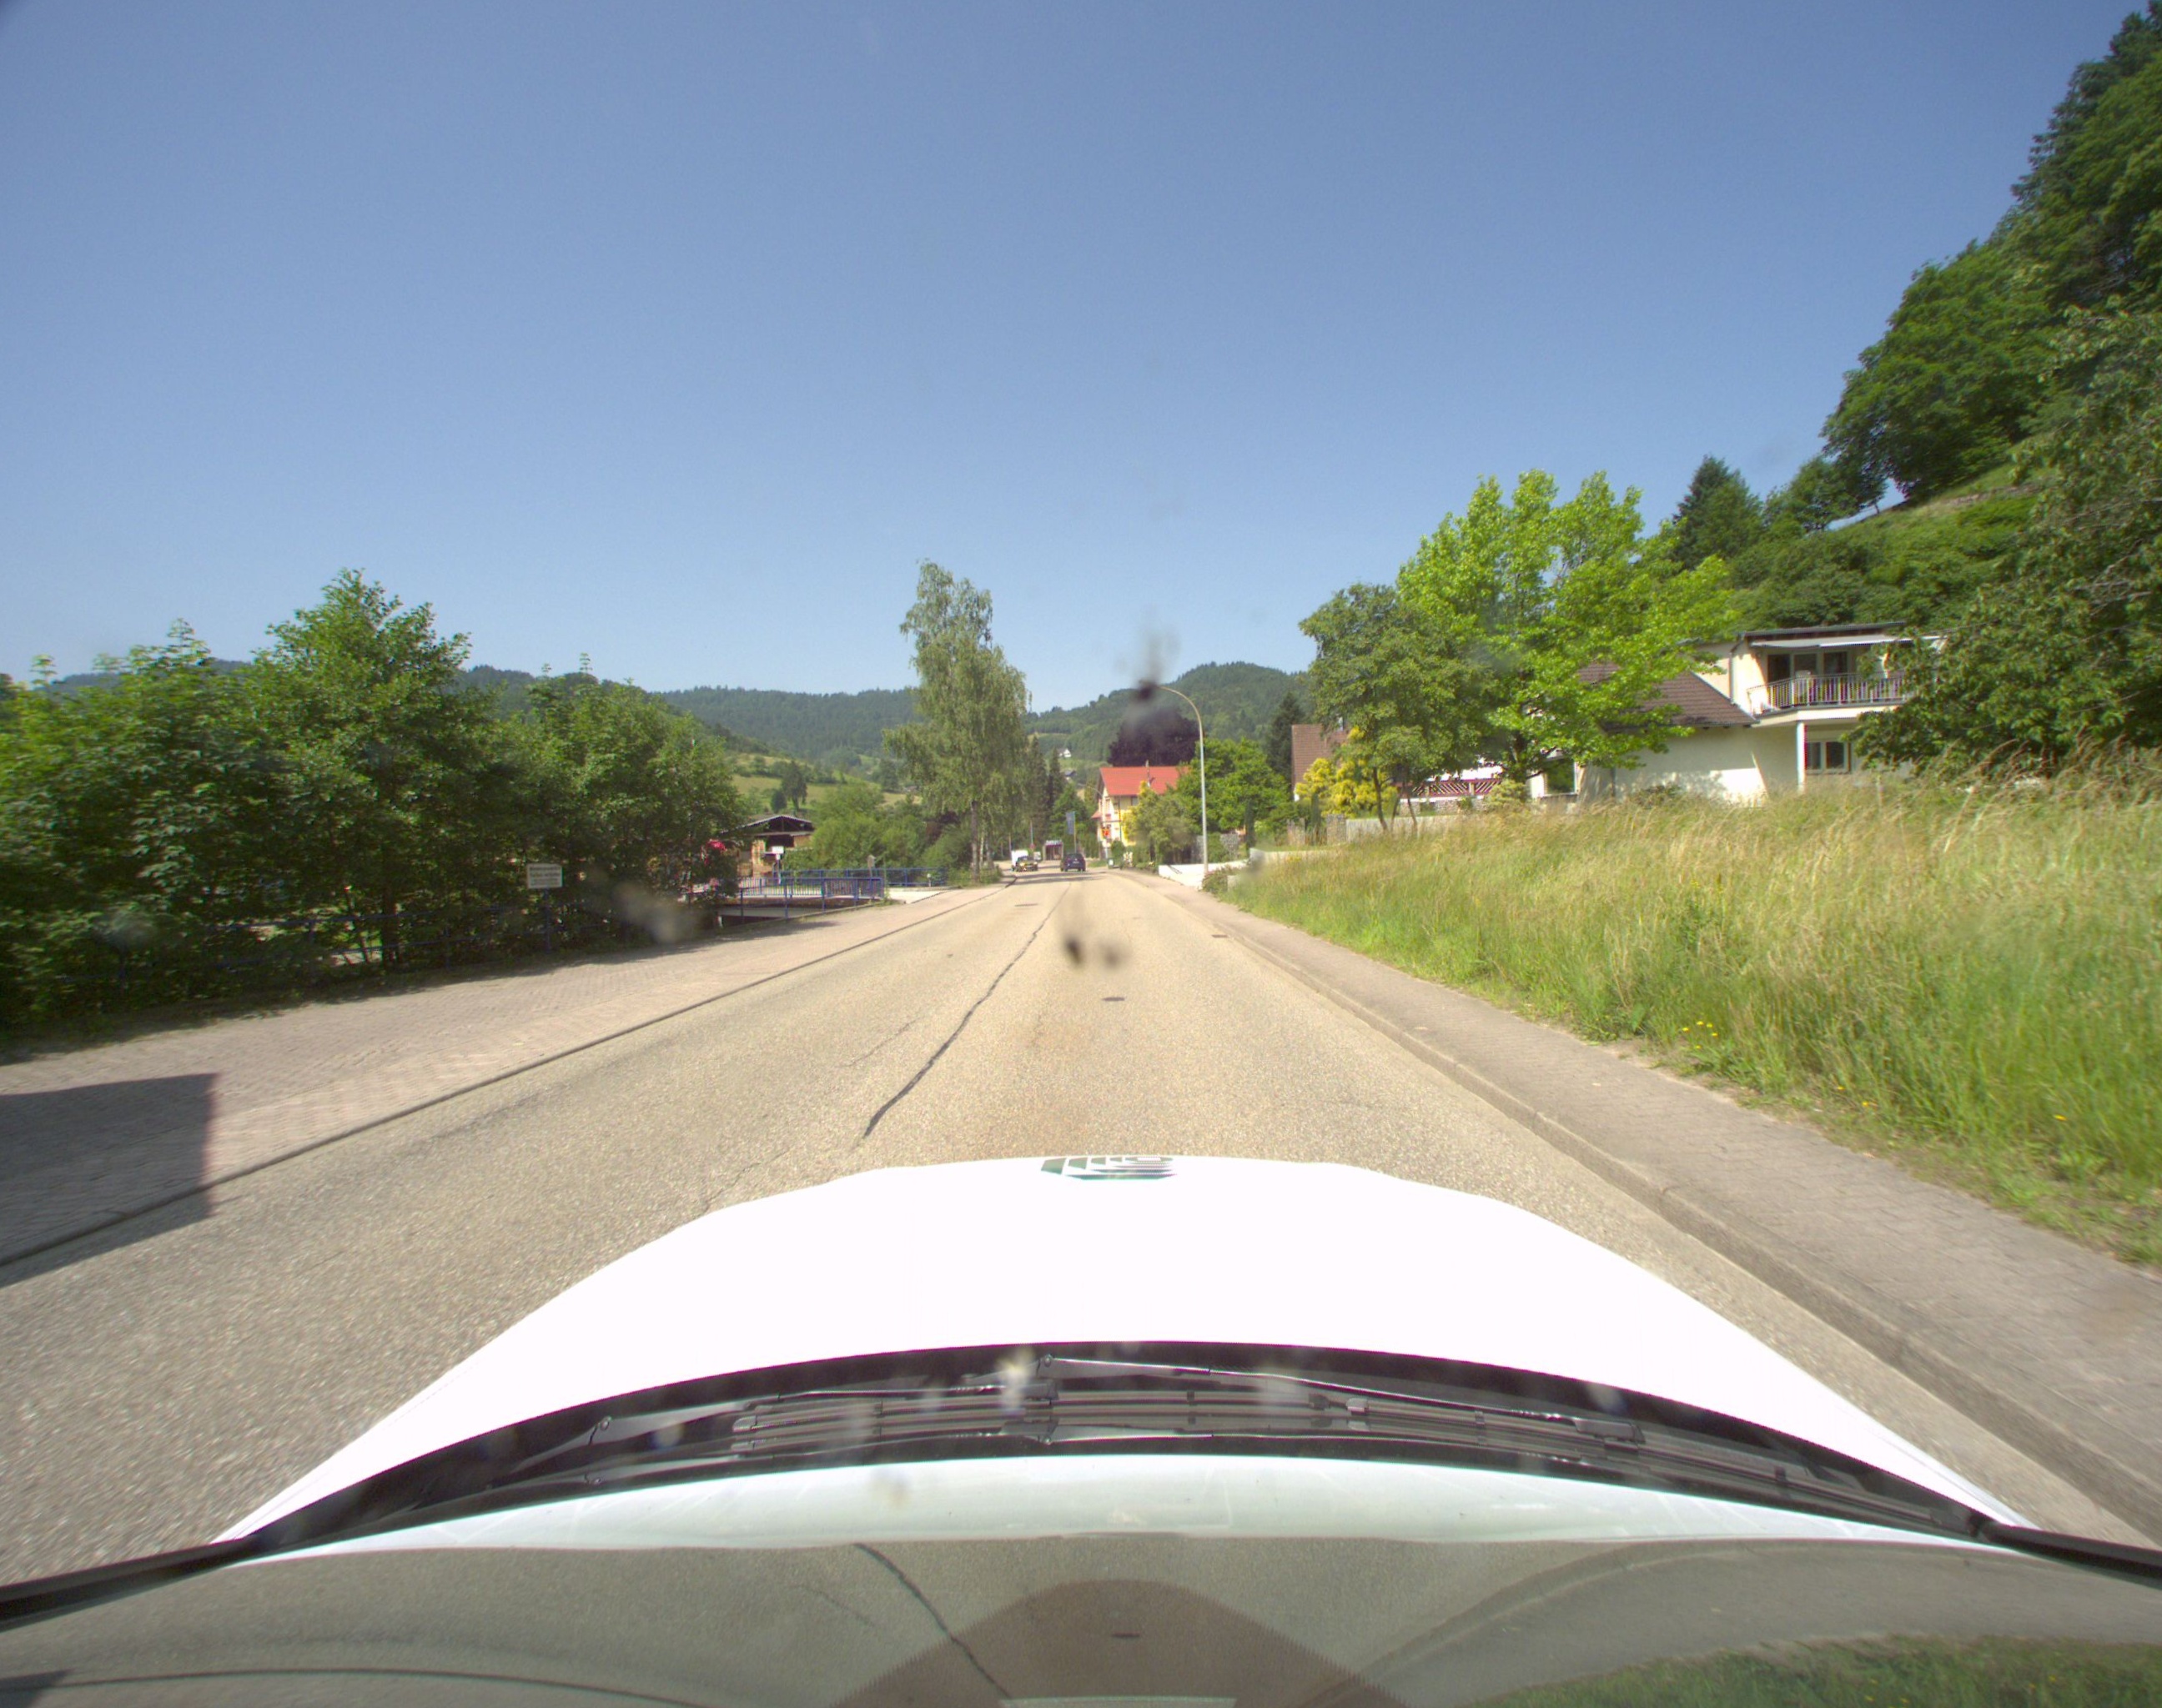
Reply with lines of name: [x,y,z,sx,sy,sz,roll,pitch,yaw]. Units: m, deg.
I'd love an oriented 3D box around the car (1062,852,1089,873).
car: [-0.496,0.693,71.074,1.917,1.698,3.781,-3,0,-5]

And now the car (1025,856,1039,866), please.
car: [-6.210,0.913,103.334,1.472,1.209,2.384,-3,0,1]

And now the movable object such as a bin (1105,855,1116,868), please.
movable object such as a bin: [2.562,0.649,70.907,0.808,1.042,0.577,-3,0,-8]

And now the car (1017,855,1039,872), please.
car: [-5.116,0.886,78.807,1.808,1.500,4.147,-3,0,-1]

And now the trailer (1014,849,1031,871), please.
trailer: [-5.959,0.618,83.741,1.463,2.077,3.668,-3,0,-1]
